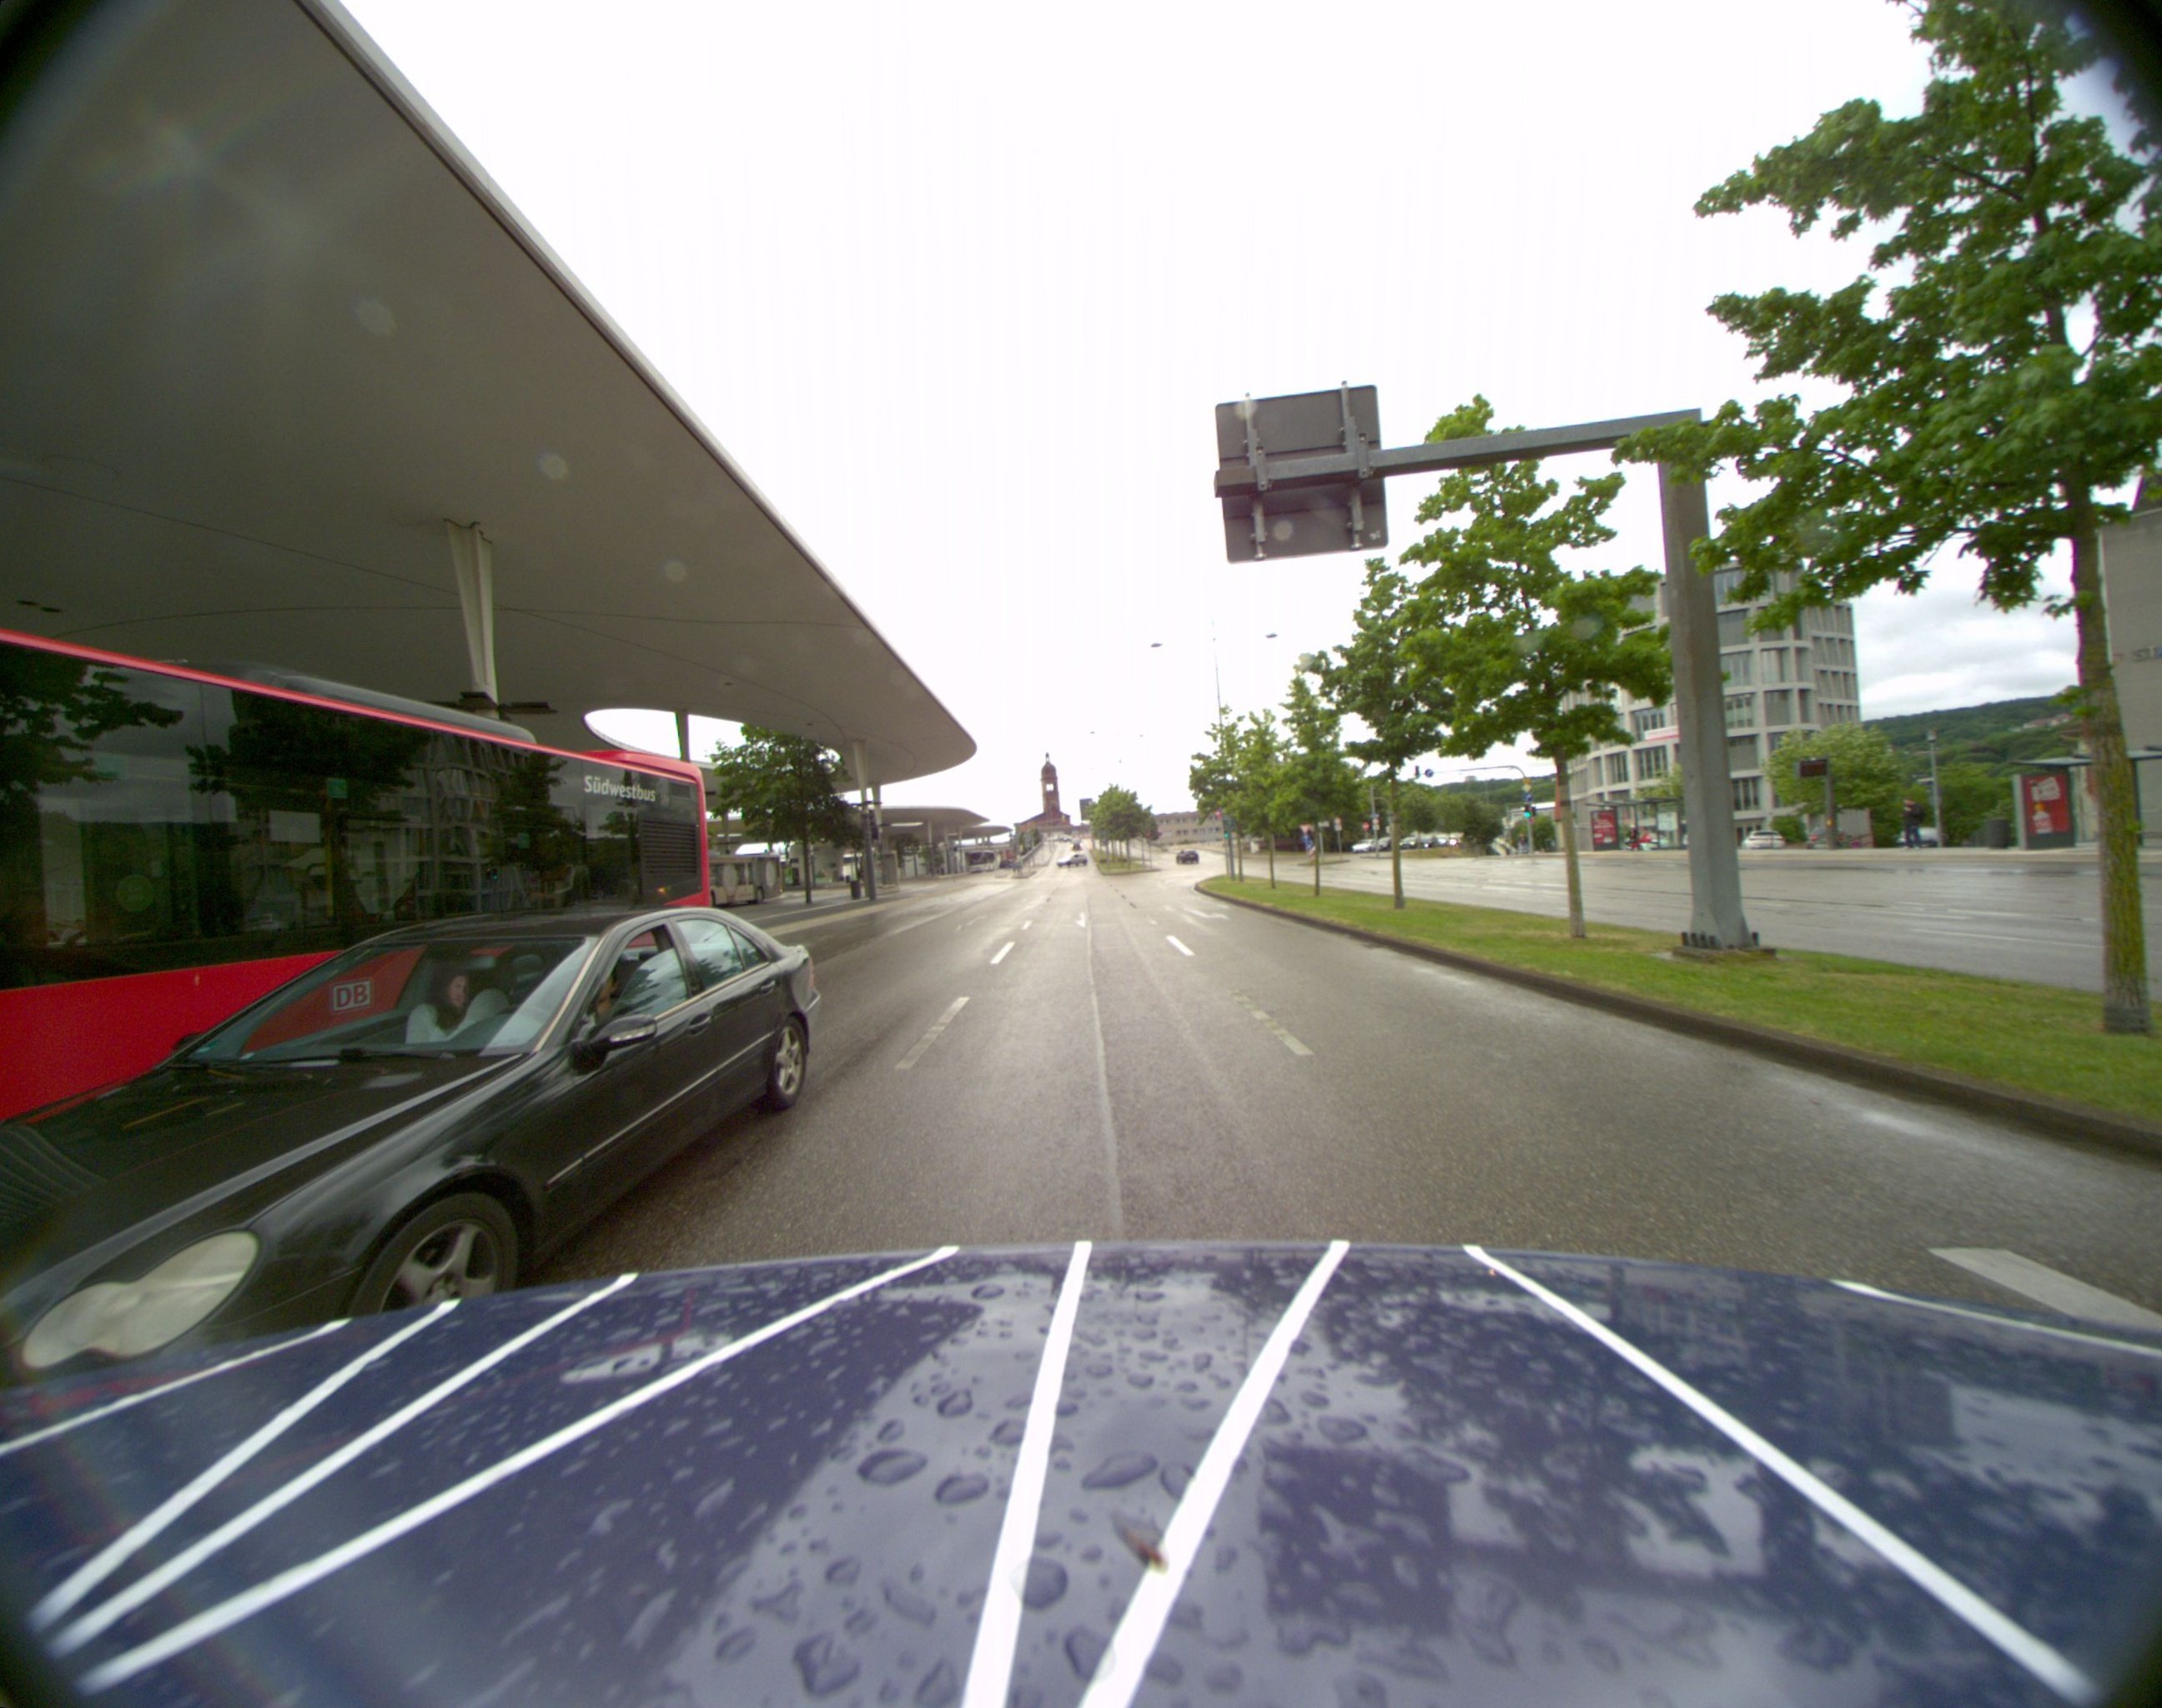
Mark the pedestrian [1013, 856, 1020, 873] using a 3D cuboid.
[{"bbox_3d":[-6.561,1.050,76.916,0.576,1.614,0.588,-3,1,1],"label":"pedestrian"}]

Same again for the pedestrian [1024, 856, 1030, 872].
[{"bbox_3d":[-5.454,1.016,76.816,0.557,1.614,0.552,-3,1,1],"label":"pedestrian"}]

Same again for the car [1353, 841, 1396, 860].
[{"bbox_3d":[30.725,-0.365,79.593,4.925,1.702,2.190,-3,0,-43],"label":"car"}]

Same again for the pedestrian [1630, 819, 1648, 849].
[{"bbox_3d":[29.999,-1.070,40.831,0.520,1.625,0.536,-2,1,1],"label":"pedestrian"}]

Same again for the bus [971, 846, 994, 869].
[{"bbox_3d":[-14.424,0.552,111.806,2.675,3.111,9.712,-3,0,-5],"label":"bus"}]

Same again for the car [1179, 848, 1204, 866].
[{"bbox_3d":[11.614,0.301,79.827,1.998,1.765,4.000,-3,0,1],"label":"car"}]

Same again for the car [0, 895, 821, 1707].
[{"bbox_3d":[-2.867,1.117,3.565,1.750,1.471,4.434,-4,0,-1],"label":"car"}]

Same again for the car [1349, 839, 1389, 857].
[{"bbox_3d":[32.224,-0.653,84.917,4.925,1.702,2.190,-3,0,-42],"label":"car"}]

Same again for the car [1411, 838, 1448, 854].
[{"bbox_3d":[42.089,-0.960,91.704,4.925,1.702,2.190,-3,0,-43],"label":"car"}]

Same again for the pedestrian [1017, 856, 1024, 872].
[{"bbox_3d":[-6.085,1.042,76.939,0.557,1.614,0.552,-3,1,1],"label":"pedestrian"}]

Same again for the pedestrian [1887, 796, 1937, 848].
[{"bbox_3d":[29.272,-1.128,26.770,0.787,1.750,0.972,-3,1,-28],"label":"pedestrian"}]

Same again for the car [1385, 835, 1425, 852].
[{"bbox_3d":[36.159,-1.166,84.751,4.925,1.702,2.190,-3,0,-43],"label":"car"}]

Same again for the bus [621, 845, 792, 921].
[{"bbox_3d":[-19.677,1.361,41.331,3.003,3.088,12.353,-9,0,-1],"label":"bus"}]

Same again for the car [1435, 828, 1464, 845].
[{"bbox_3d":[46.771,-2.234,96.410,1.994,2.002,4.008,-2,-1,44],"label":"car"}]

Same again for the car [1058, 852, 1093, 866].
[{"bbox_3d":[-0.606,0.545,87.815,3.742,1.450,1.624,-3,0,-36],"label":"car"}]

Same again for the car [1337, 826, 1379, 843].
[{"bbox_3d":[39.036,-2.733,107.245,2.315,2.002,5.021,-3,0,-41],"label":"car"}]

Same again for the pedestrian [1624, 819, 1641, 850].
[{"bbox_3d":[29.451,-1.043,40.597,0.504,1.625,0.502,-2,1,1],"label":"pedestrian"}]

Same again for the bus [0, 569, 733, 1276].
[{"bbox_3d":[-6.174,0.342,6.143,2.750,3.155,8.120,-3,0,1],"label":"bus"}]
